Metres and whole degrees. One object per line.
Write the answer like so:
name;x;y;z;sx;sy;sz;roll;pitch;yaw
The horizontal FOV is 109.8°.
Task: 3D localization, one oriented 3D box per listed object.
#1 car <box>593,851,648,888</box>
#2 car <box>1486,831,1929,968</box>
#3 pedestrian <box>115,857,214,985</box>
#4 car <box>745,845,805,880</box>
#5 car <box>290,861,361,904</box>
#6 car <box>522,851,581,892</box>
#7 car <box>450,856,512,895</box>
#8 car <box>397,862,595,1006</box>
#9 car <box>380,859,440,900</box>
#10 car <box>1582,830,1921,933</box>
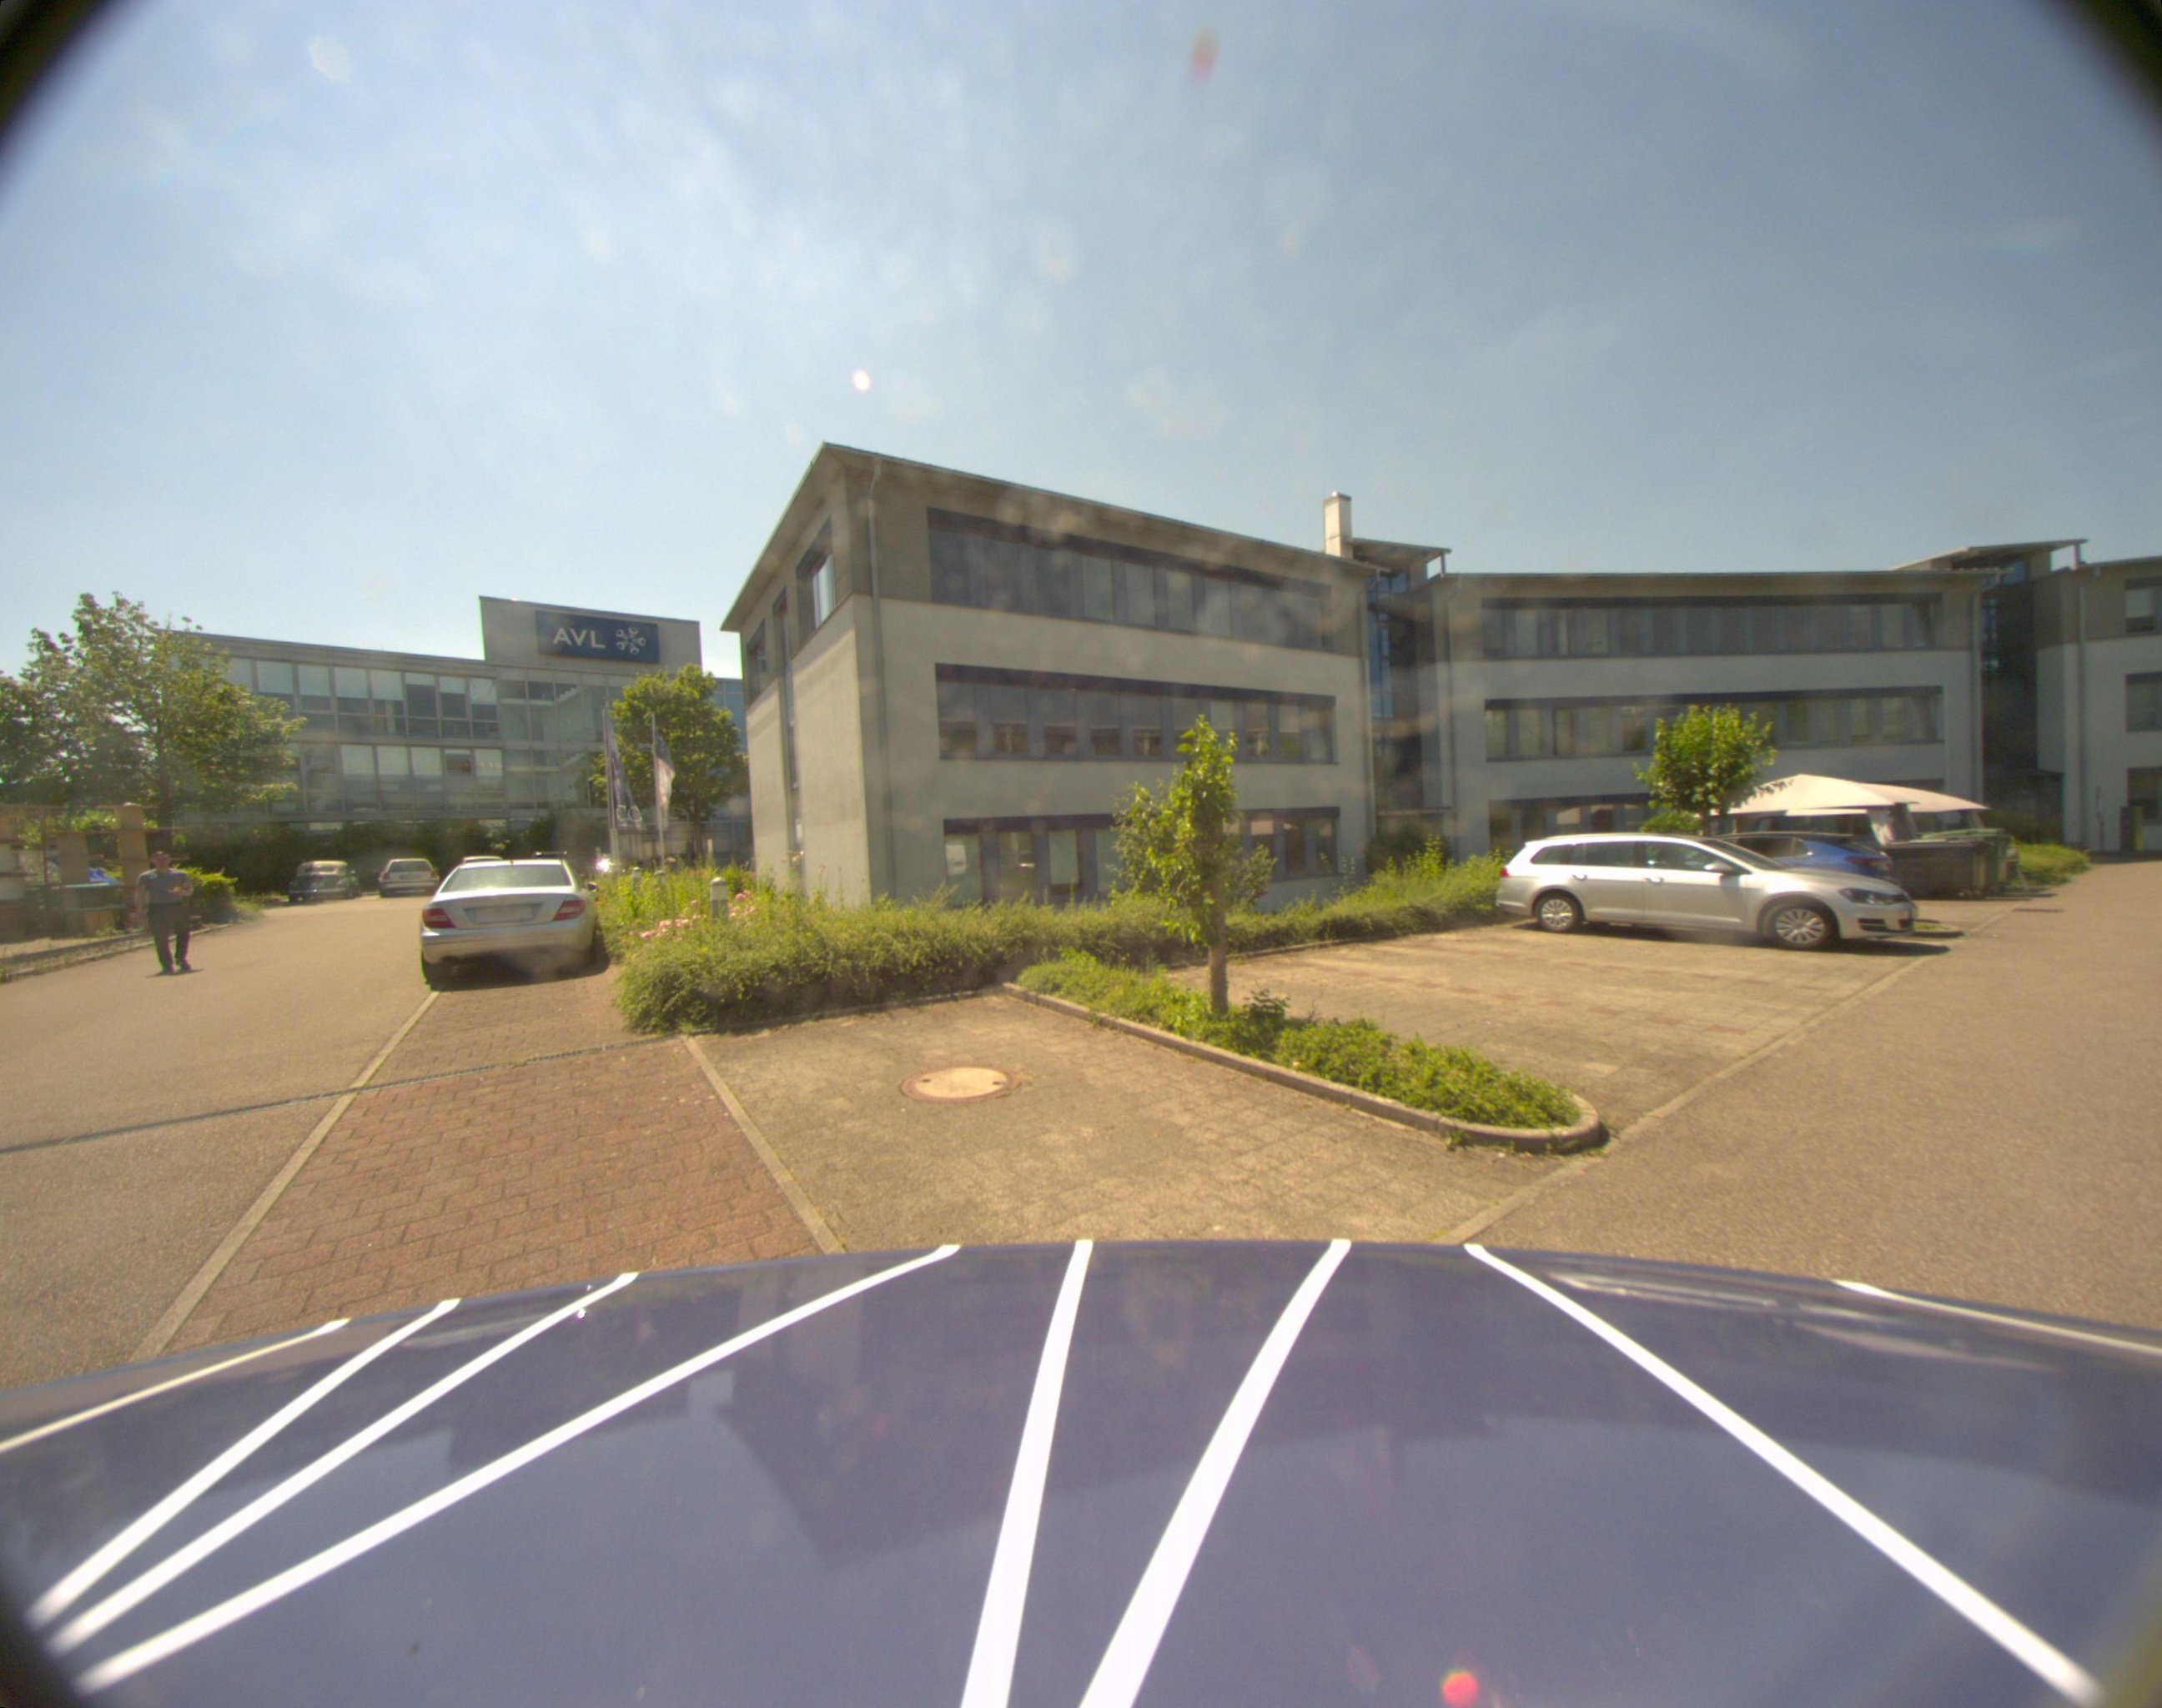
car;-21.072;0.654;34.697;1.734;1.476;4.385;-3;2;-35
car;8.448;0.503;10.690;1.866;1.464;4.472;-3;1;-36
pedestrian;-13.511;0.949;11.216;0.766;1.759;0.810;1;4;40
car;-15.641;0.383;38.732;1.836;1.628;4.160;-3;2;-36
car;-28.430;1.016;28.689;1.525;1.437;3.409;-2;2;-39
car;-23.283;0.717;33.359;1.943;1.594;3.849;-2;2;-37
car;-25.276;0.844;31.973;1.736;1.444;3.590;-2;2;-43
car;-7.808;0.904;10.514;1.737;1.448;4.137;-3;2;-32
car;-26.681;0.960;30.184;1.646;1.444;3.590;-2;2;-43
car;11.385;0.422;13.193;2.003;1.453;3.990;-3;0;-32
